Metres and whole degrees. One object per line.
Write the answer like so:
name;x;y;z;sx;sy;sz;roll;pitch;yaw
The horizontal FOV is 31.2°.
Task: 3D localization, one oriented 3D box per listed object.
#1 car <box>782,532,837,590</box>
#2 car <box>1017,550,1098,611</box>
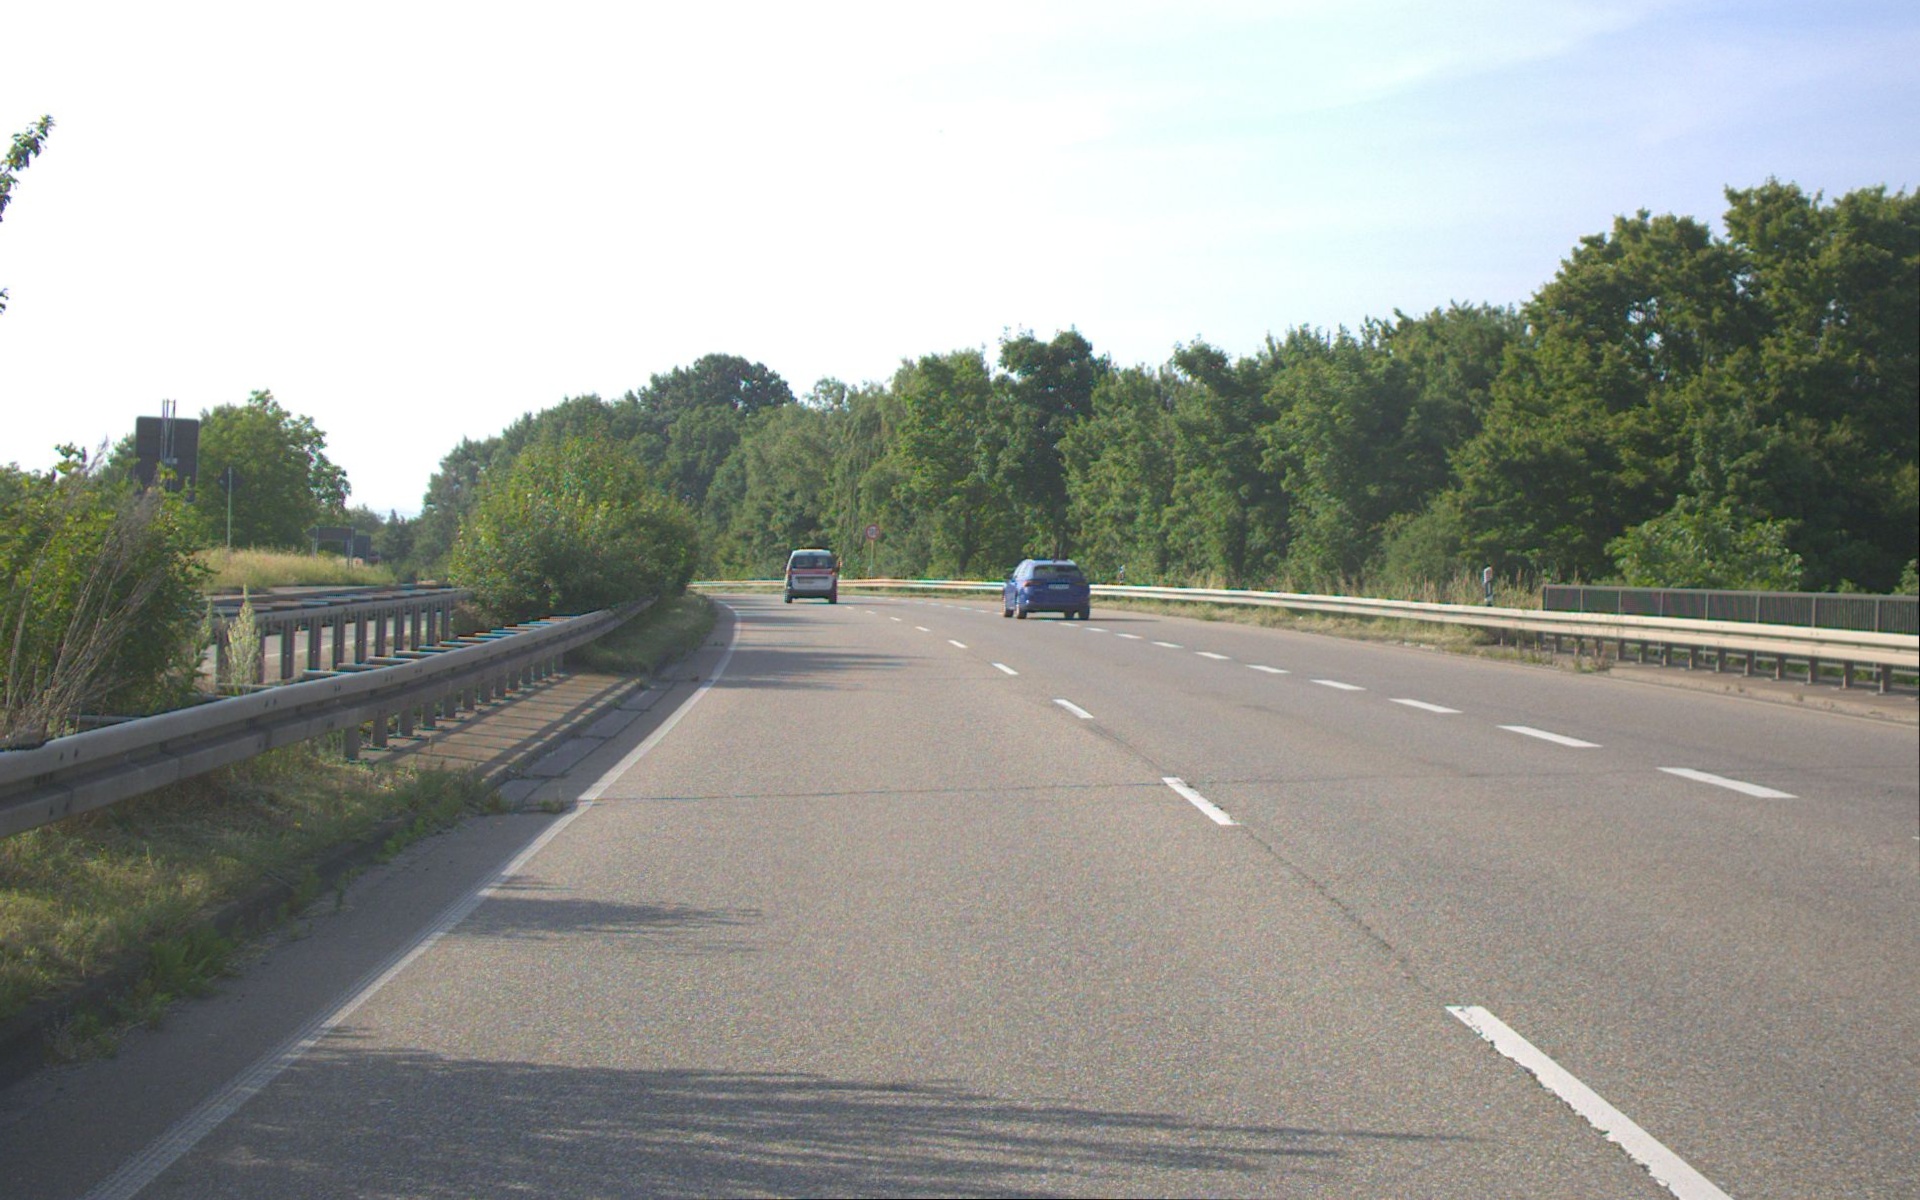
car;-5.096;-1.315;115.705;1.765;1.875;4.001;1;1;-3
car;2.373;-0.470;84.214;1.779;1.446;4.000;1;0;-1
